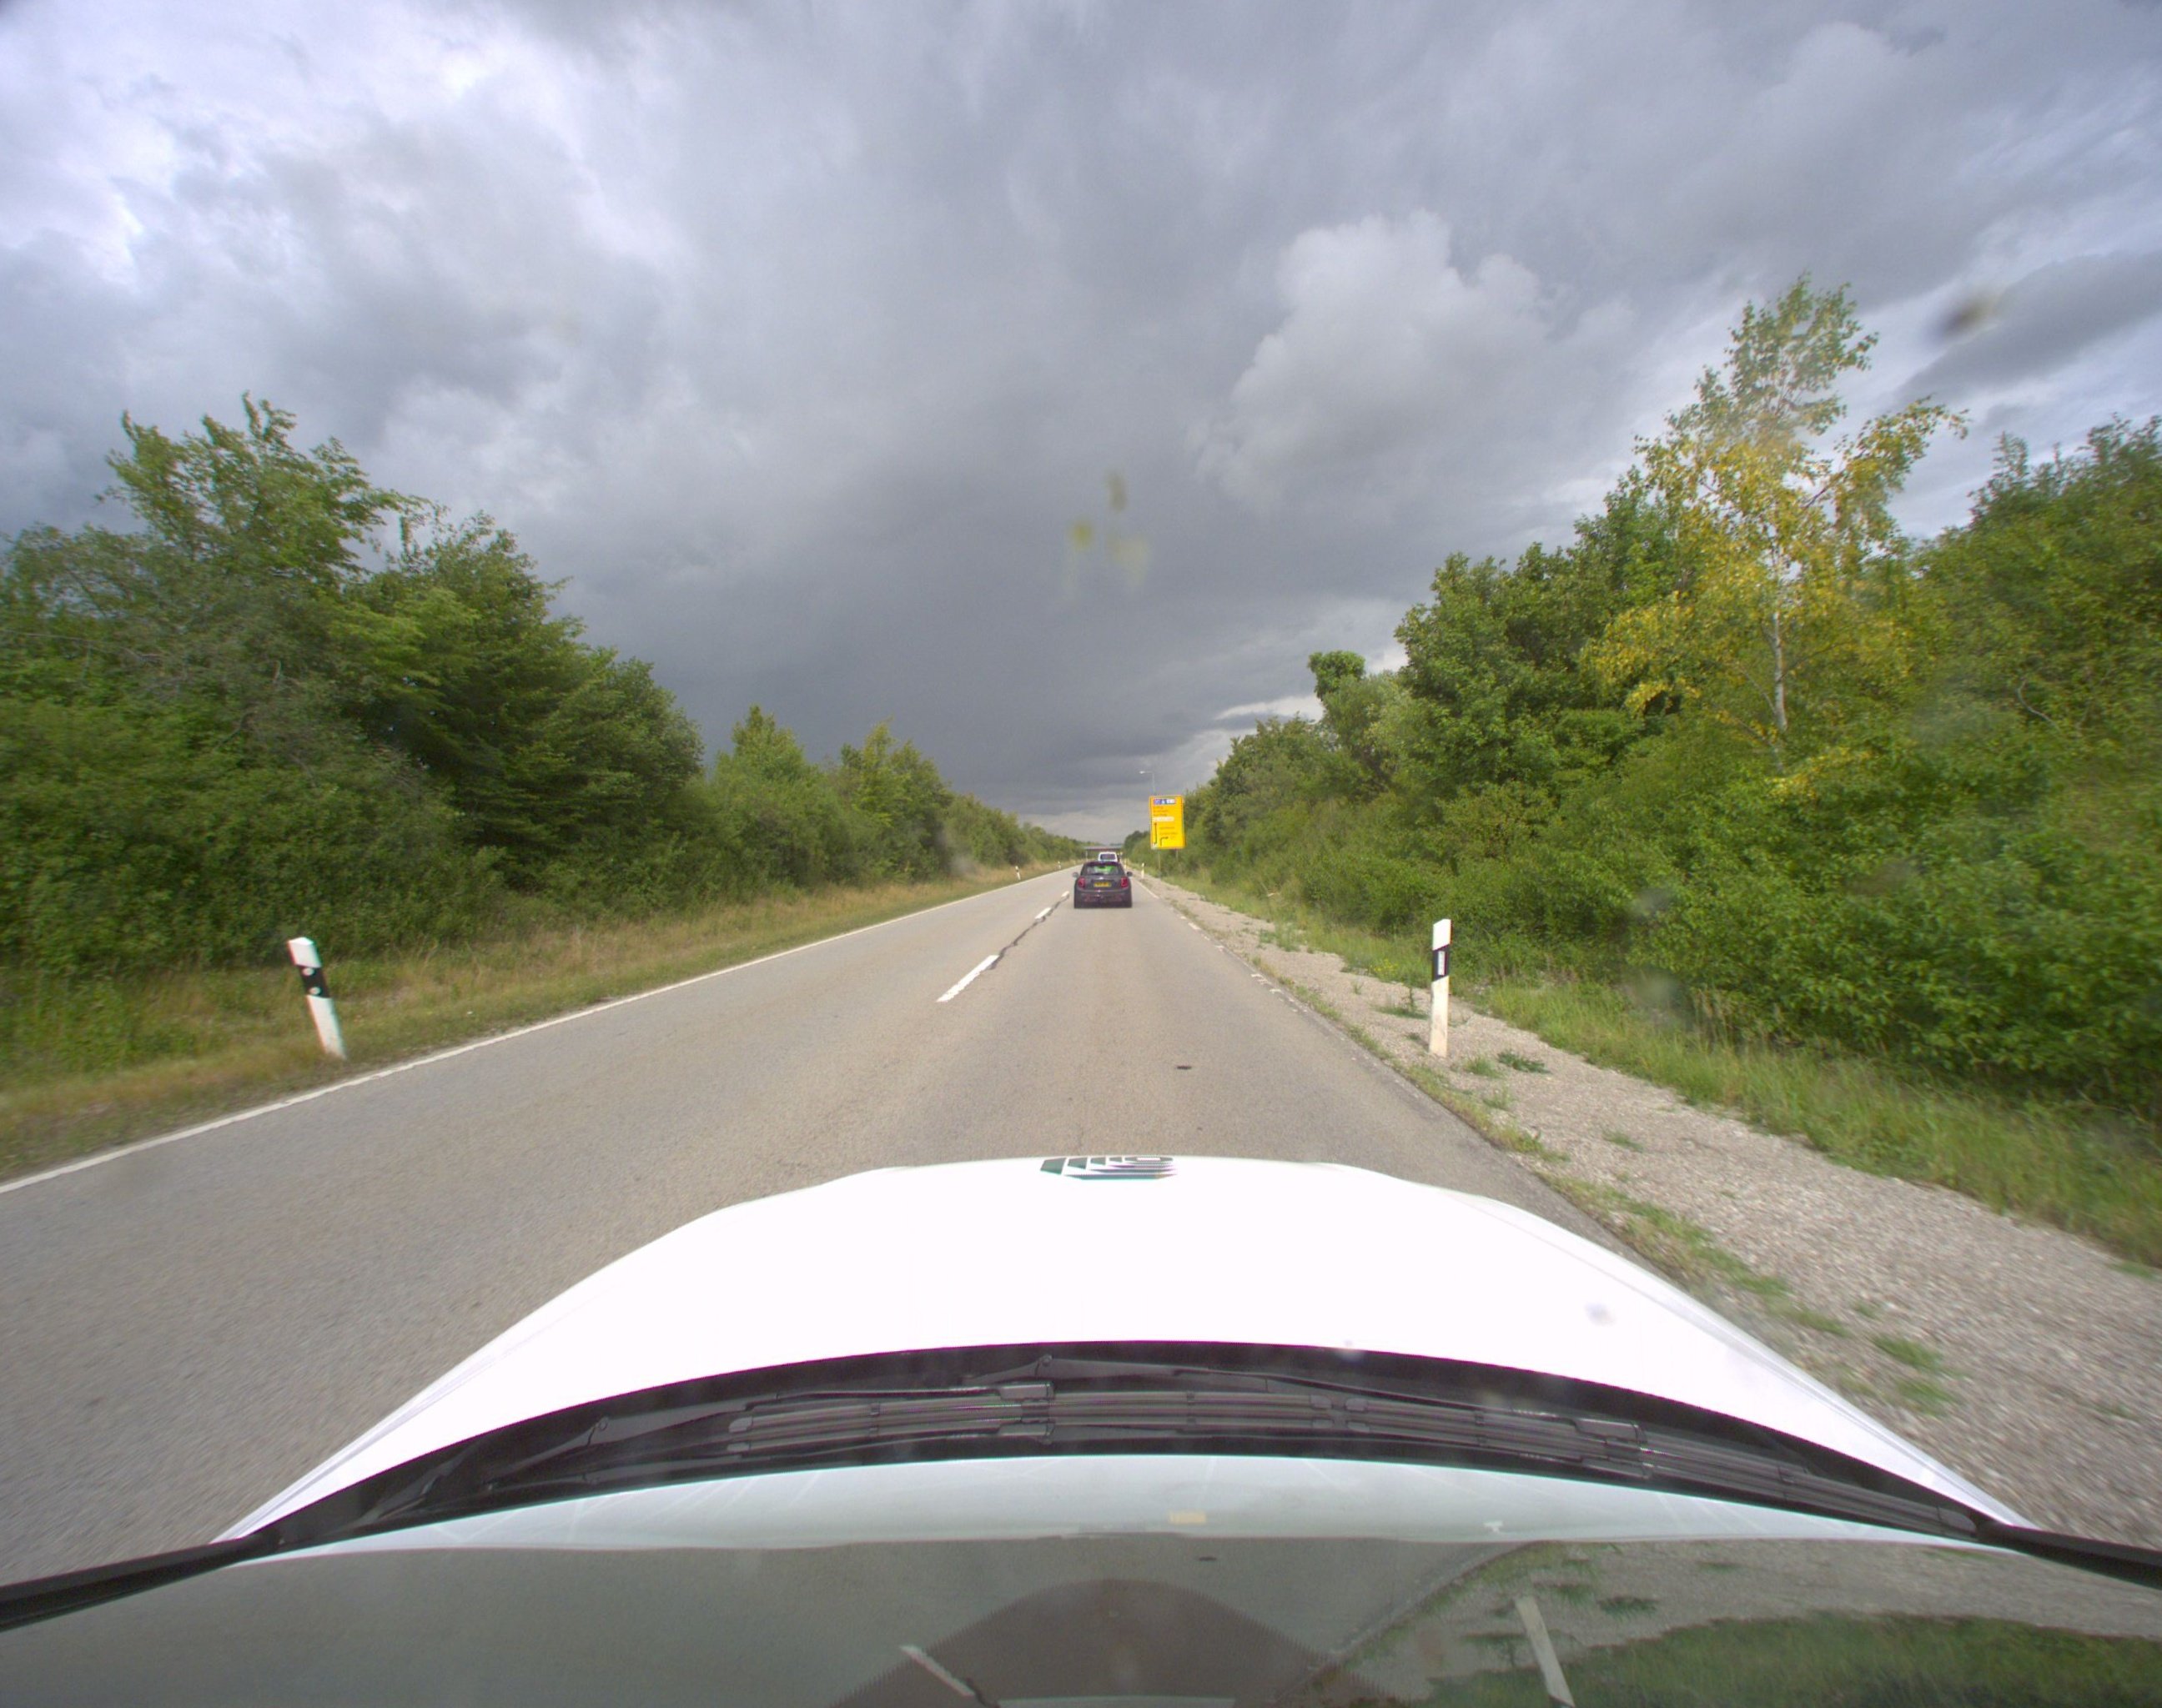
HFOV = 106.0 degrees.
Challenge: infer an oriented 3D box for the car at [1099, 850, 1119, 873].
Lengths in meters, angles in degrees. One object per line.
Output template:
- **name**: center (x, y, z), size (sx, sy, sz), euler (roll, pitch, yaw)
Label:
- **car**: center (2.543, 0.699, 74.243), size (1.813, 2.054, 4.001), euler (0, -1, 1)

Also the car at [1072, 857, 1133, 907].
- **car**: center (0.684, 0.835, 25.717), size (1.750, 1.427, 4.001), euler (0, -1, 1)
